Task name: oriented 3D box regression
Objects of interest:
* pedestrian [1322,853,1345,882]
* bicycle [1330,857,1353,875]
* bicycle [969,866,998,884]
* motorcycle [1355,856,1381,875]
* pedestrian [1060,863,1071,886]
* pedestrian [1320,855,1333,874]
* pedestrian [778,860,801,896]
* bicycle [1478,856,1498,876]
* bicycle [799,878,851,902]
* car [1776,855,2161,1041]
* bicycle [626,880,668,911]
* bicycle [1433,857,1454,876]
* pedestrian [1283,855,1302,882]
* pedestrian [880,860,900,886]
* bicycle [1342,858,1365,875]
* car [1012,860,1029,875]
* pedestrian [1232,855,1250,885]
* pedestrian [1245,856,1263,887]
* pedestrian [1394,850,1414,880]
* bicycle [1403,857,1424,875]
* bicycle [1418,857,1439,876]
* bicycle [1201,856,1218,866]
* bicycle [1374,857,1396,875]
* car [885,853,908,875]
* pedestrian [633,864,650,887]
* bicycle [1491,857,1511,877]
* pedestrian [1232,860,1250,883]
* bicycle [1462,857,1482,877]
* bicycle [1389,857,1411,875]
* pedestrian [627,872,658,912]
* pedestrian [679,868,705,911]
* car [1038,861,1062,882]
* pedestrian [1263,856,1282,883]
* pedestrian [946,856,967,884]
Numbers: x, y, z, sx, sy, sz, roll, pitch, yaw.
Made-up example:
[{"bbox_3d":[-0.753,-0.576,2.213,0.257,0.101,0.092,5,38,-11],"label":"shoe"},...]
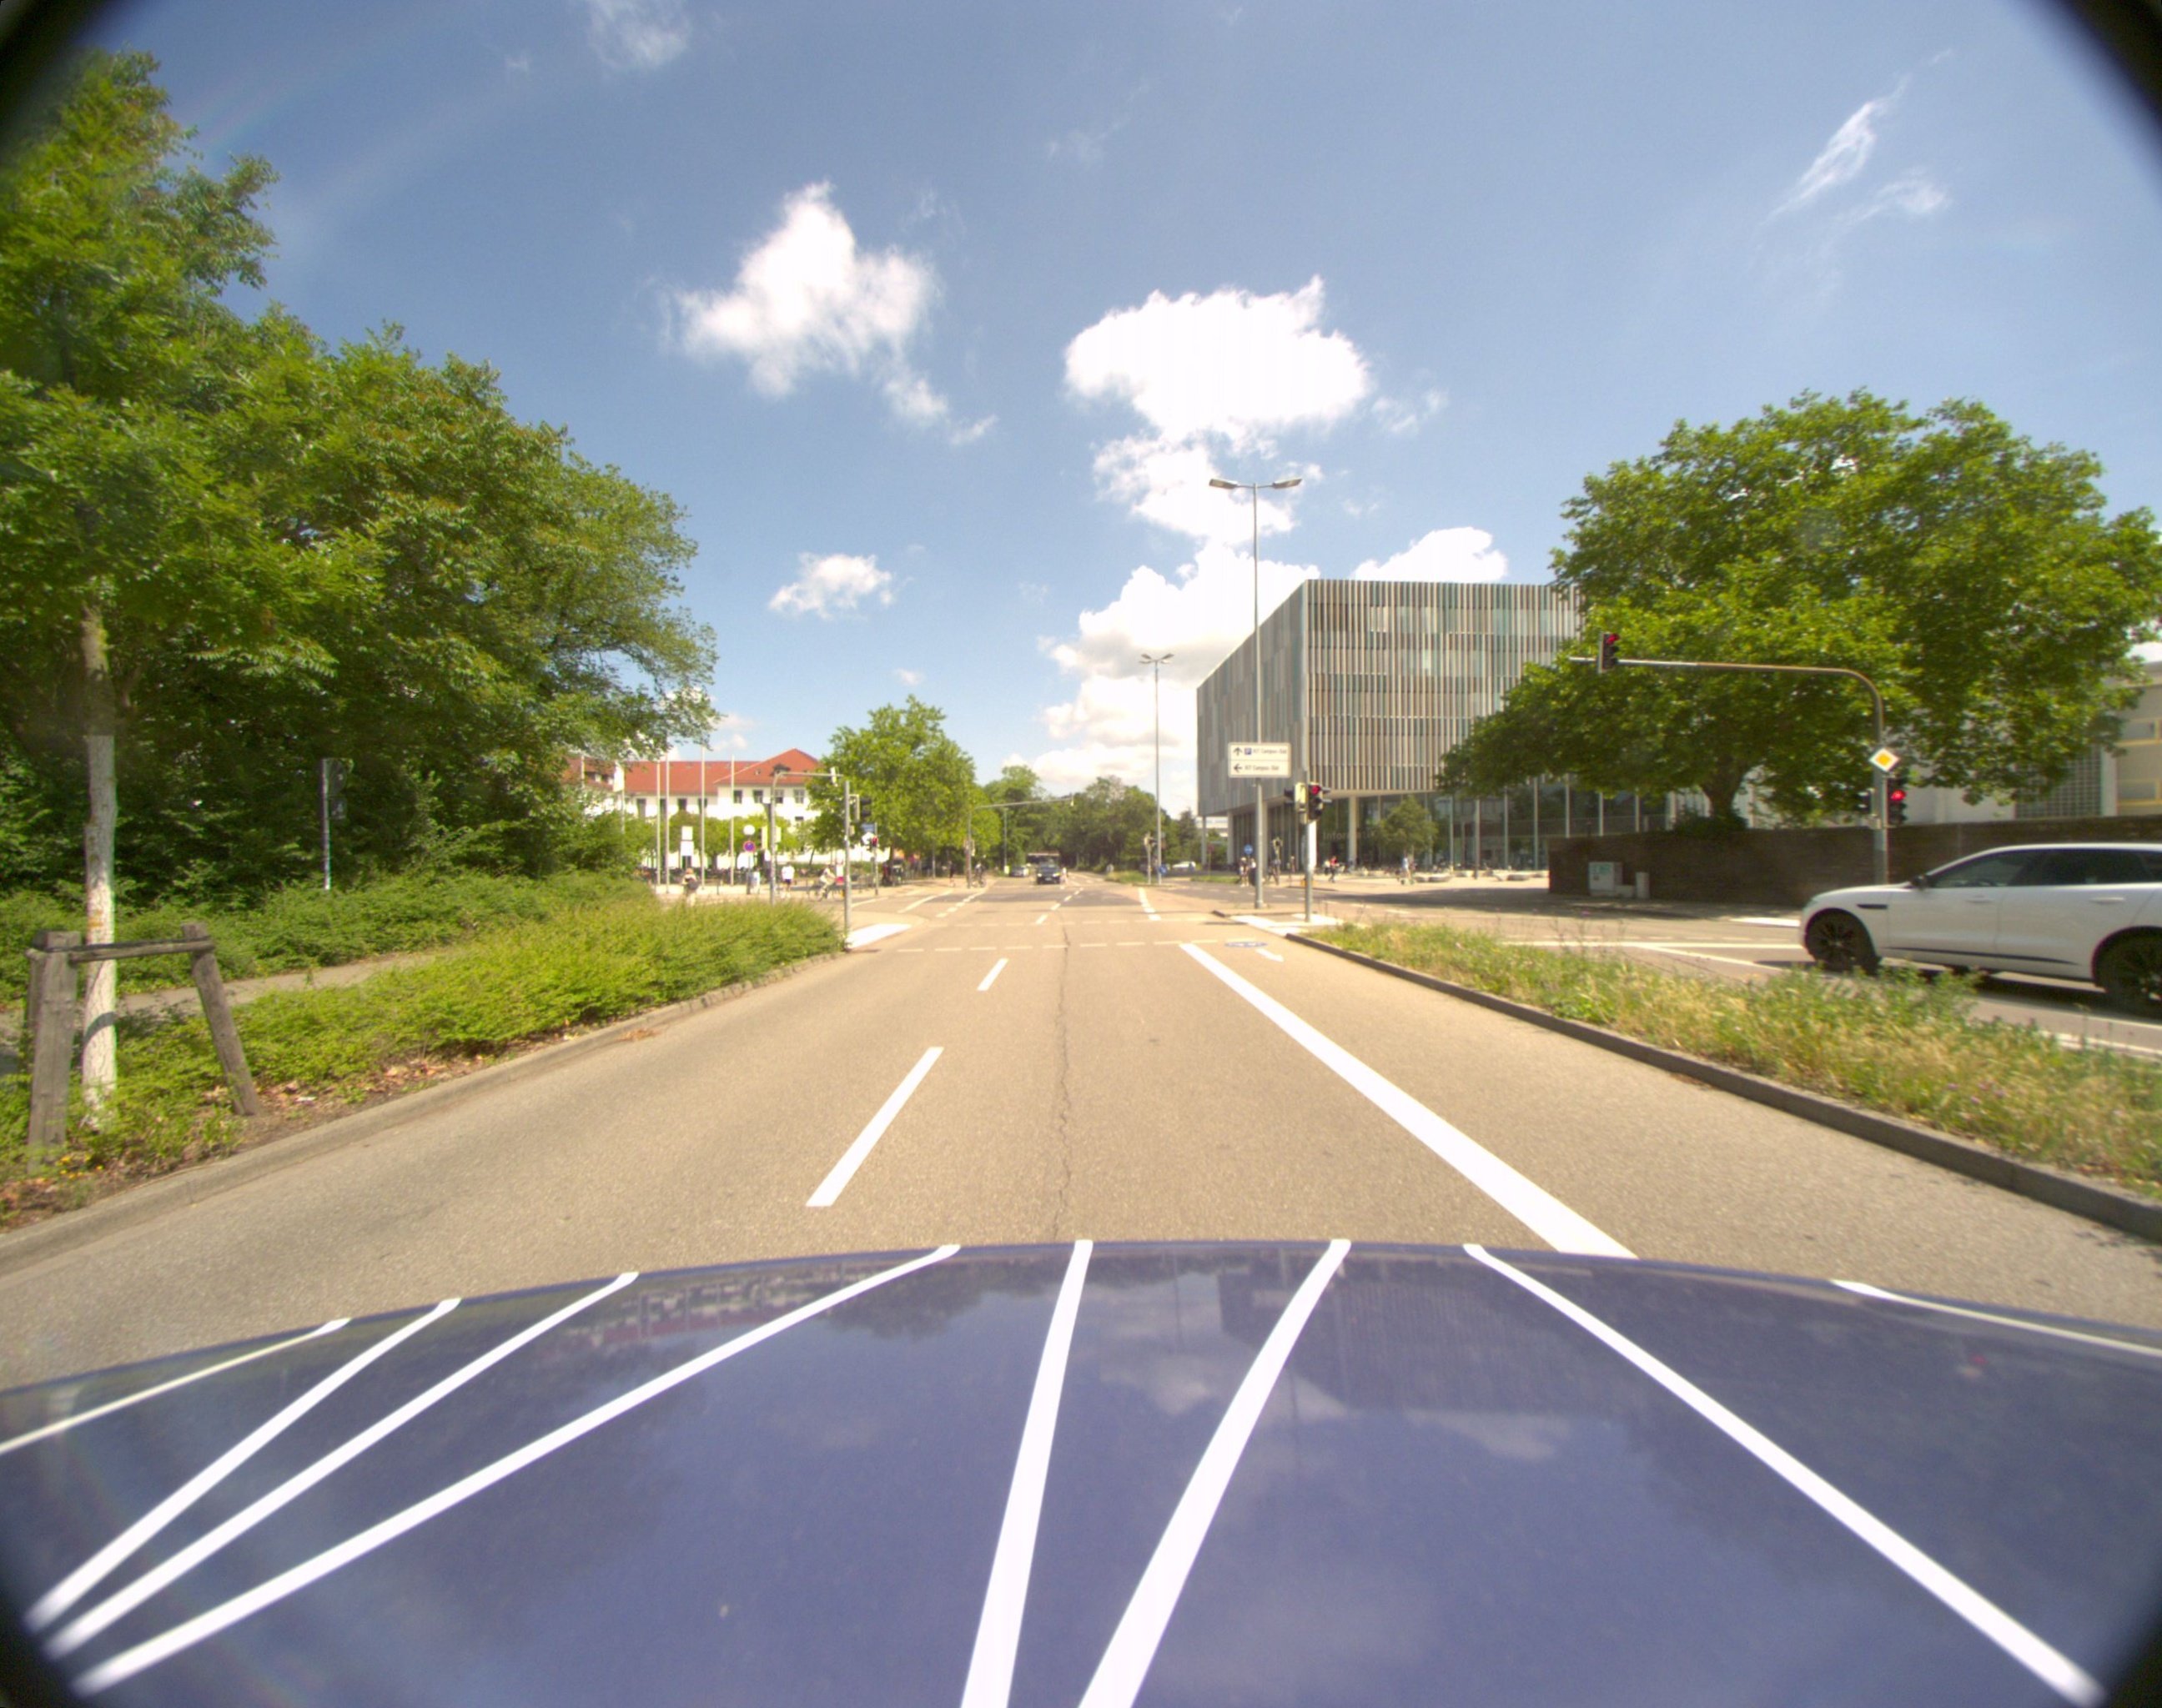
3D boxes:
[{"bbox_3d":[16.944,0.884,51.019,1.109,1.914,0.971,-1,0,-7],"label":"pedestrian"},{"bbox_3d":[23.959,1.074,69.789,0.808,1.634,3.422,0,0,40],"label":"bicycle"},{"bbox_3d":[-6.866,1.469,53.459,2.159,1.244,0.887,-1,0,44],"label":"bicycle"},{"bbox_3d":[25.740,1.037,68.154,0.969,1.630,3.305,0,0,43],"label":"motorcycle"},{"bbox_3d":[-0.981,1.317,49.210,0.591,1.495,0.416,-1,1,-20],"label":"pedestrian"},{"bbox_3d":[22.659,0.953,70.192,1.012,1.697,1.212,-1,0,25],"label":"pedestrian"},{"bbox_3d":[-15.477,1.269,40.413,0.879,1.861,0.971,-1,0,-6],"label":"pedestrian"},{"bbox_3d":[32.669,0.924,61.010,0.997,1.543,3.422,-1,0,35],"label":"bicycle"},{"bbox_3d":[-11.426,1.613,33.980,2.165,0.992,0.646,-1,0,-18],"label":"bicycle"},{"bbox_3d":[10.725,0.848,8.208,2.076,1.657,4.775,-1,0,0],"label":"car"},{"bbox_3d":[-15.920,1.515,27.842,1.659,1.136,0.673,-2,-3,35],"label":"bicycle"},{"bbox_3d":[30.173,1.013,63.287,0.997,1.543,3.422,0,0,35],"label":"bicycle"},{"bbox_3d":[15.297,1.016,54.974,0.880,1.914,0.969,-1,1,-33],"label":"pedestrian"},{"bbox_3d":[-12.358,1.220,49.150,1.064,1.588,0.970,-1,0,-21],"label":"pedestrian"},{"bbox_3d":[24.747,1.145,69.078,0.930,1.485,2.693,0,0,44],"label":"bicycle"},{"bbox_3d":[-7.287,1.633,91.443,1.913,1.772,3.998,-1,0,-5],"label":"car"},{"bbox_3d":[10.497,1.057,49.892,1.107,1.914,0.973,-1,0,12],"label":"pedestrian"},{"bbox_3d":[11.034,1.123,48.474,1.107,1.914,0.973,-1,0,13],"label":"pedestrian"},{"bbox_3d":[20.994,0.696,49.375,1.107,1.914,0.973,-1,0,20],"label":"pedestrian"},{"bbox_3d":[28.614,1.007,65.352,0.997,1.543,3.422,0,0,35],"label":"bicycle"},{"bbox_3d":[29.465,1.010,64.453,0.997,1.543,3.422,0,0,35],"label":"bicycle"},{"bbox_3d":[19.239,1.098,113.751,2.303,1.486,0.657,-1,0,-1],"label":"bicycle"},{"bbox_3d":[26.886,1.006,67.222,1.049,1.543,3.422,0,0,35],"label":"bicycle"},{"bbox_3d":[-18.465,0.988,76.201,2.000,2.042,4.225,-1,0,-10],"label":"car"},{"bbox_3d":[-31.472,1.551,54.385,0.833,1.613,0.686,0,1,22],"label":"pedestrian"},{"bbox_3d":[32.835,1.015,59.356,0.997,1.543,3.422,0,0,35],"label":"bicycle"},{"bbox_3d":[11.330,1.227,53.891,0.879,1.619,0.970,-1,0,-16],"label":"pedestrian"},{"bbox_3d":[31.751,1.013,61.686,0.997,1.543,3.422,0,0,35],"label":"bicycle"},{"bbox_3d":[27.812,1.008,66.210,0.997,1.543,3.422,0,0,35],"label":"bicycle"},{"bbox_3d":[-15.945,1.383,27.613,0.786,1.408,0.657,0,-2,34],"label":"pedestrian"},{"bbox_3d":[-14.858,1.338,29.028,0.633,1.617,0.647,0,1,34],"label":"pedestrian"},{"bbox_3d":[-2.488,1.383,60.308,1.846,1.593,3.999,-1,0,-3],"label":"car"},{"bbox_3d":[13.584,1.081,53.947,0.880,1.914,0.970,-1,1,-19],"label":"pedestrian"},{"bbox_3d":[-8.604,1.112,52.521,1.030,1.914,0.973,-1,1,20],"label":"pedestrian"}]
